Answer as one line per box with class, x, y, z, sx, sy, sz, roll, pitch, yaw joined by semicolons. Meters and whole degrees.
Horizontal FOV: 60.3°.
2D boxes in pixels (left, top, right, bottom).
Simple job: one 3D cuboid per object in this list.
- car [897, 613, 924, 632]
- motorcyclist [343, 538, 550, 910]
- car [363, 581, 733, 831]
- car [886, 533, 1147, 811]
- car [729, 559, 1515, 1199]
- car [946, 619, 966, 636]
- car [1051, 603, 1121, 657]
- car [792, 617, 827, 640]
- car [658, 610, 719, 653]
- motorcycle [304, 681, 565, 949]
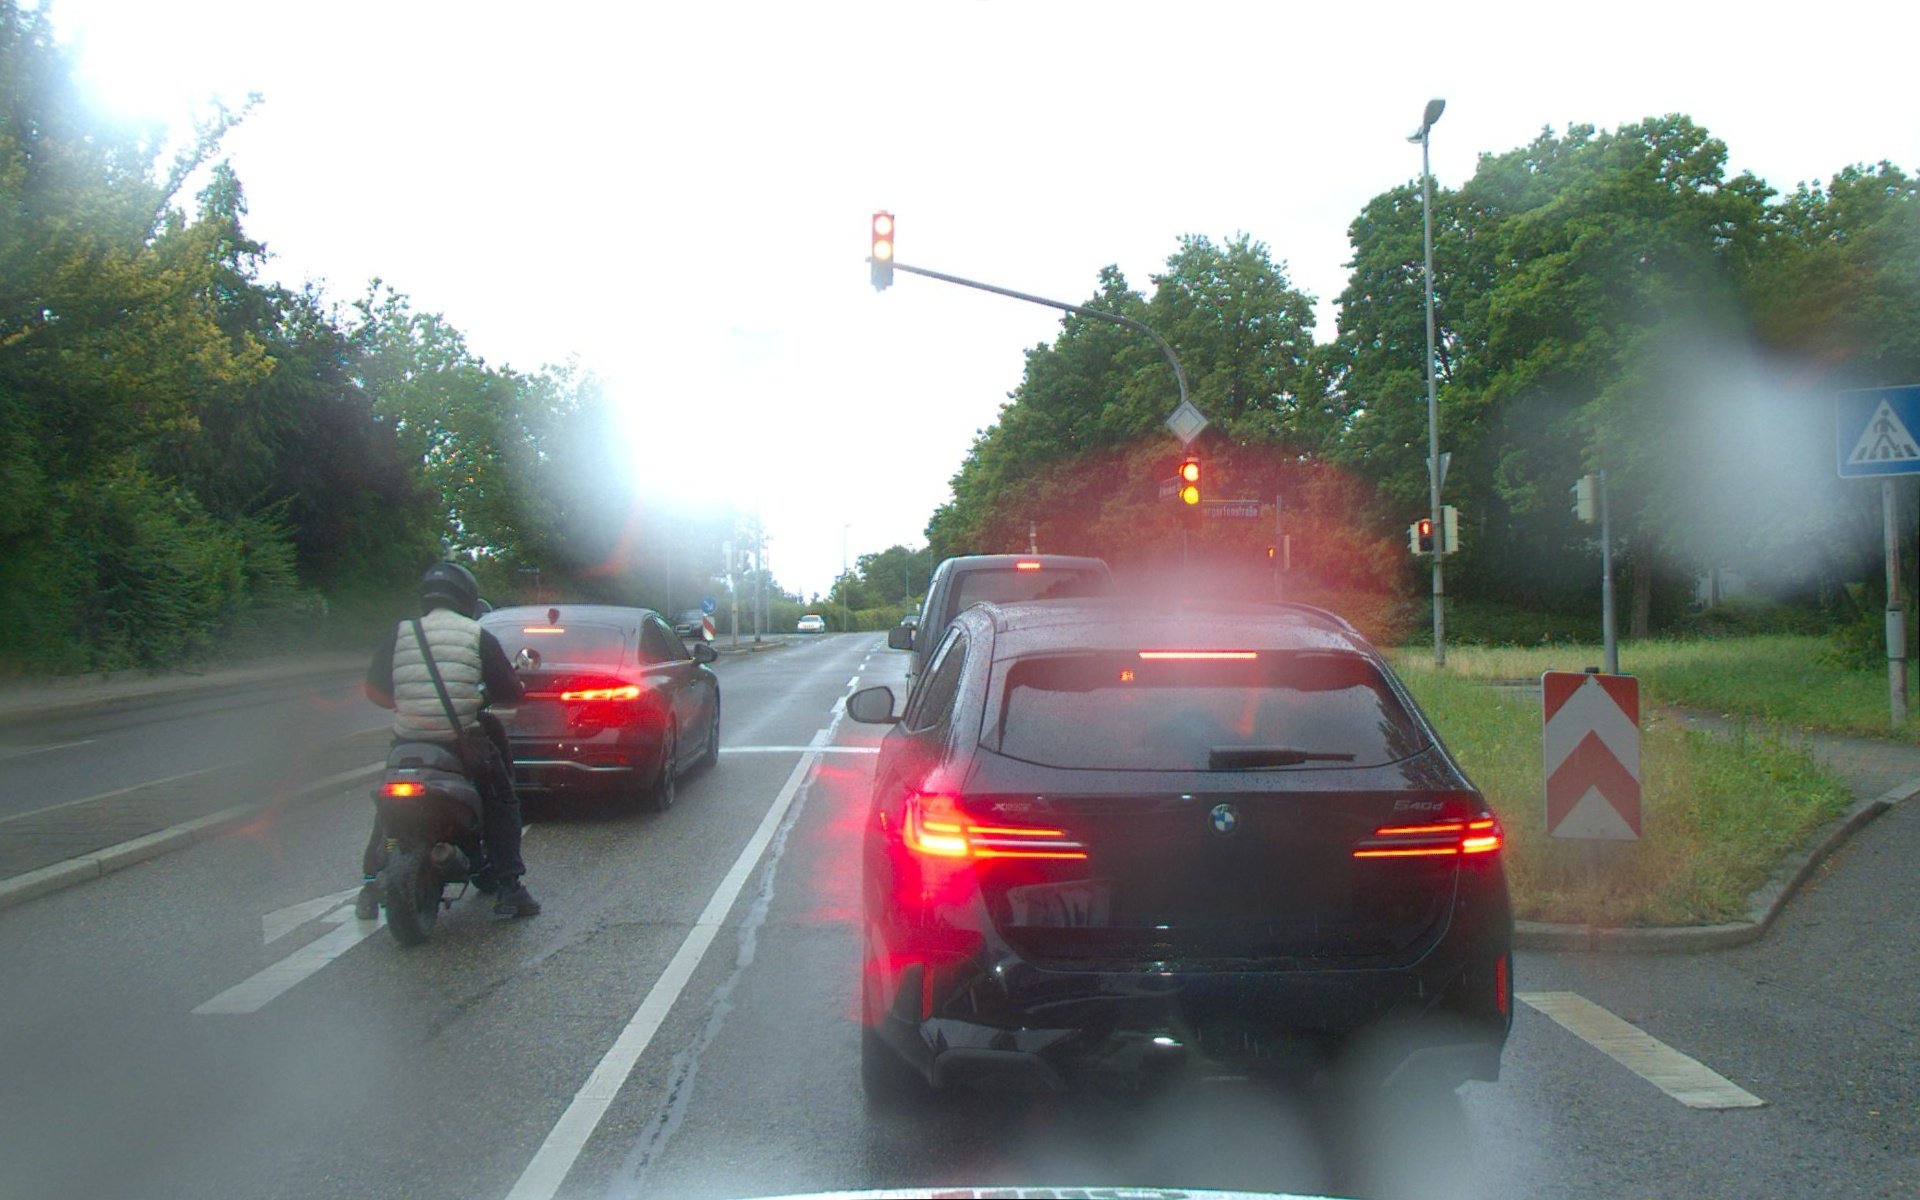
car;-5.006;2.287;168.101;2.061;1.795;4.871;-2;-1;6
motorcyclist;-2.396;0.566;7.797;0.749;1.671;0.674;0;-1;-2
car;-2.989;0.706;12.981;1.954;1.554;4.325;-2;0;-3
car;0.380;0.509;13.341;1.781;1.901;3.952;0;0;0
car;0.490;0.739;6.248;1.858;1.578;4.616;1;-1;3
car;-0.362;2.427;146.618;1.663;1.452;3.513;-2;0;0
car;3.962;0.919;52.457;1.835;1.569;3.952;-2;0;0
car;-11.652;2.192;128.514;1.951;1.639;3.674;-2;-1;6
car;-12.609;1.449;77.005;1.952;1.858;4.001;-2;-1;3
motorcycle;-2.403;0.942;7.787;0.677;1.071;1.747;1;-1;-1
